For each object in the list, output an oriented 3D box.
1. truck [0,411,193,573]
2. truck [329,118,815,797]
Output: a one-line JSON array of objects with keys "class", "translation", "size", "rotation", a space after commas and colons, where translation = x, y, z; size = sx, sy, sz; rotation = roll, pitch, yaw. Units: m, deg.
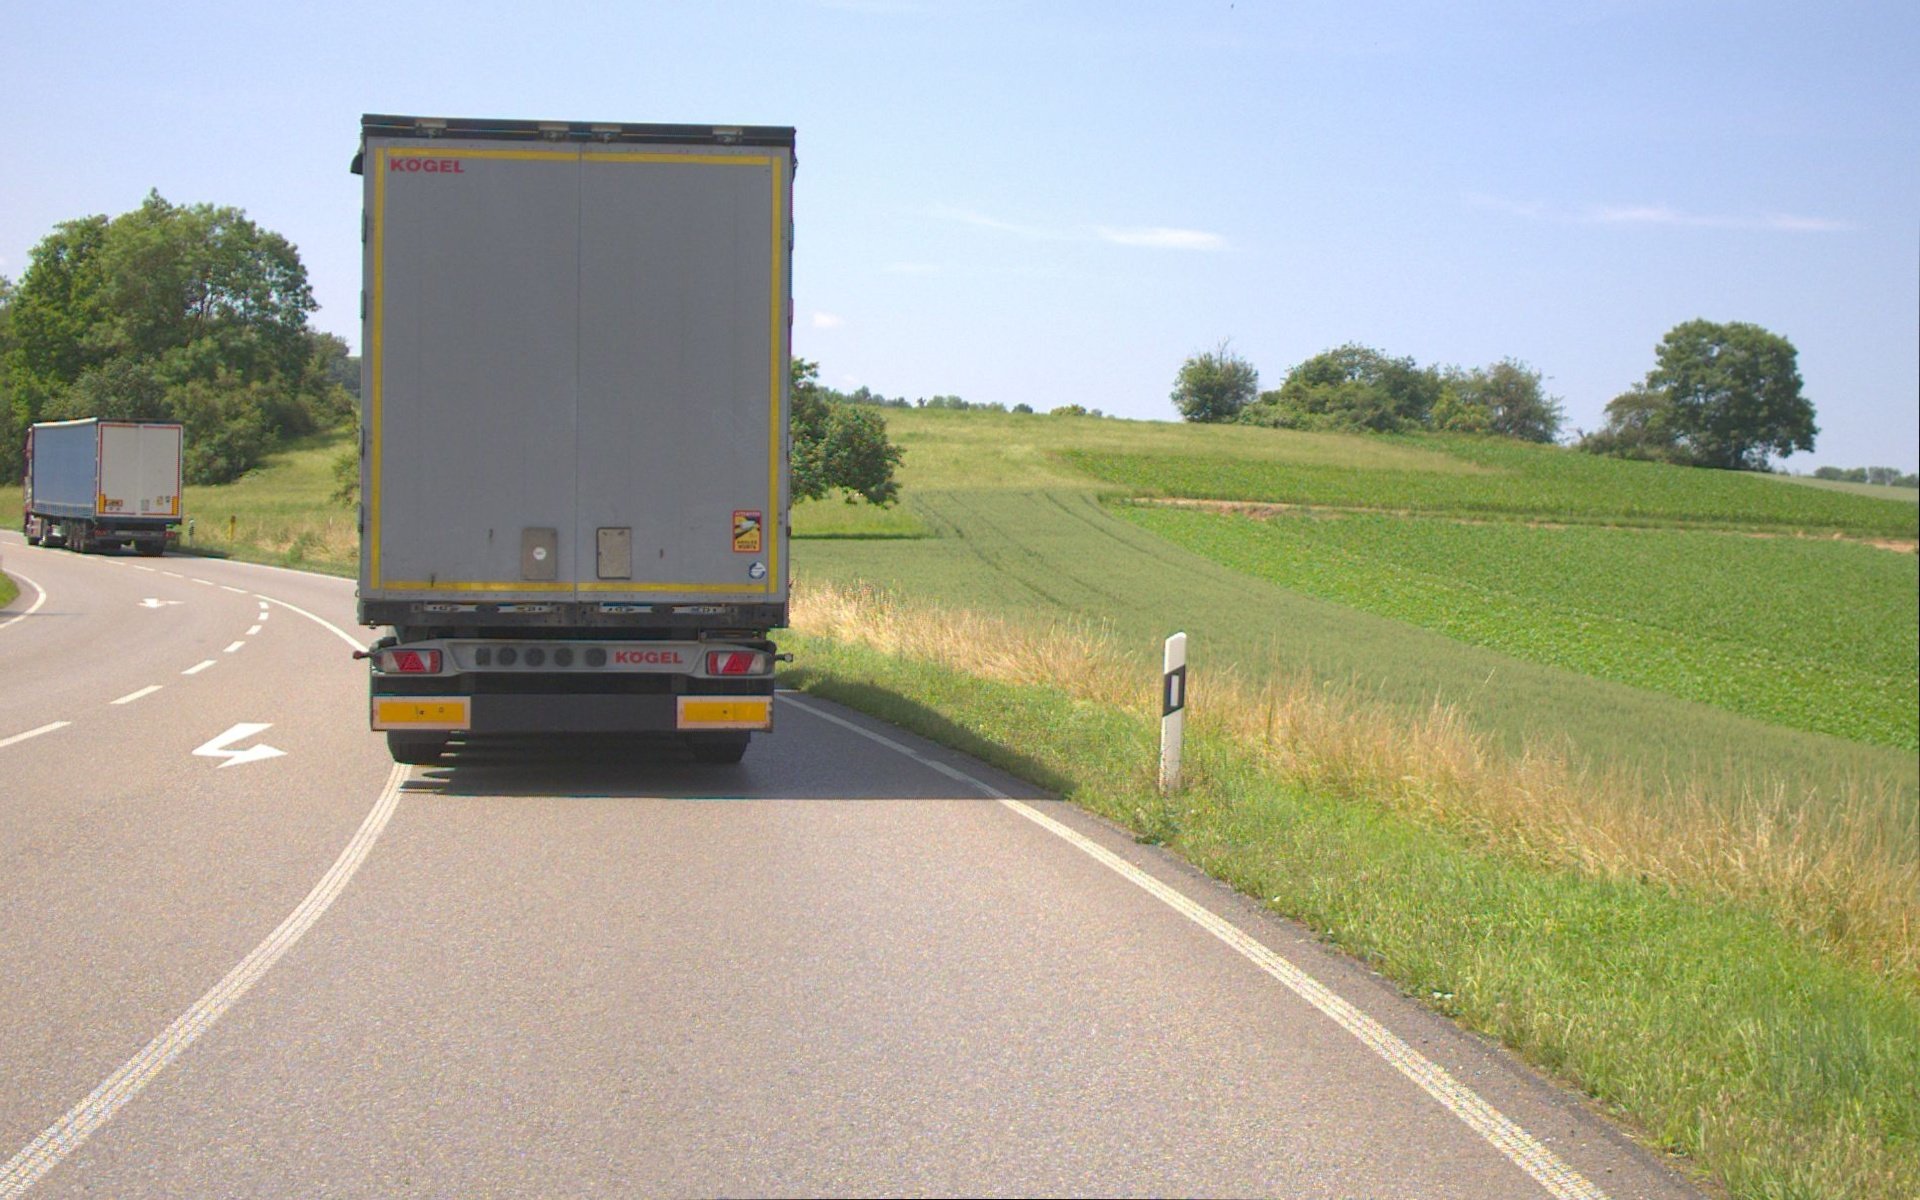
[{"class": "truck", "translation": [-27.402, -3.426, 108.006], "size": [2.960, 4.568, 16.320], "rotation": [3, 1, -25]}, {"class": "truck", "translation": [-2.868, -0.938, 24.866], "size": [2.807, 3.932, 9.593], "rotation": [0, 1, -7]}]
